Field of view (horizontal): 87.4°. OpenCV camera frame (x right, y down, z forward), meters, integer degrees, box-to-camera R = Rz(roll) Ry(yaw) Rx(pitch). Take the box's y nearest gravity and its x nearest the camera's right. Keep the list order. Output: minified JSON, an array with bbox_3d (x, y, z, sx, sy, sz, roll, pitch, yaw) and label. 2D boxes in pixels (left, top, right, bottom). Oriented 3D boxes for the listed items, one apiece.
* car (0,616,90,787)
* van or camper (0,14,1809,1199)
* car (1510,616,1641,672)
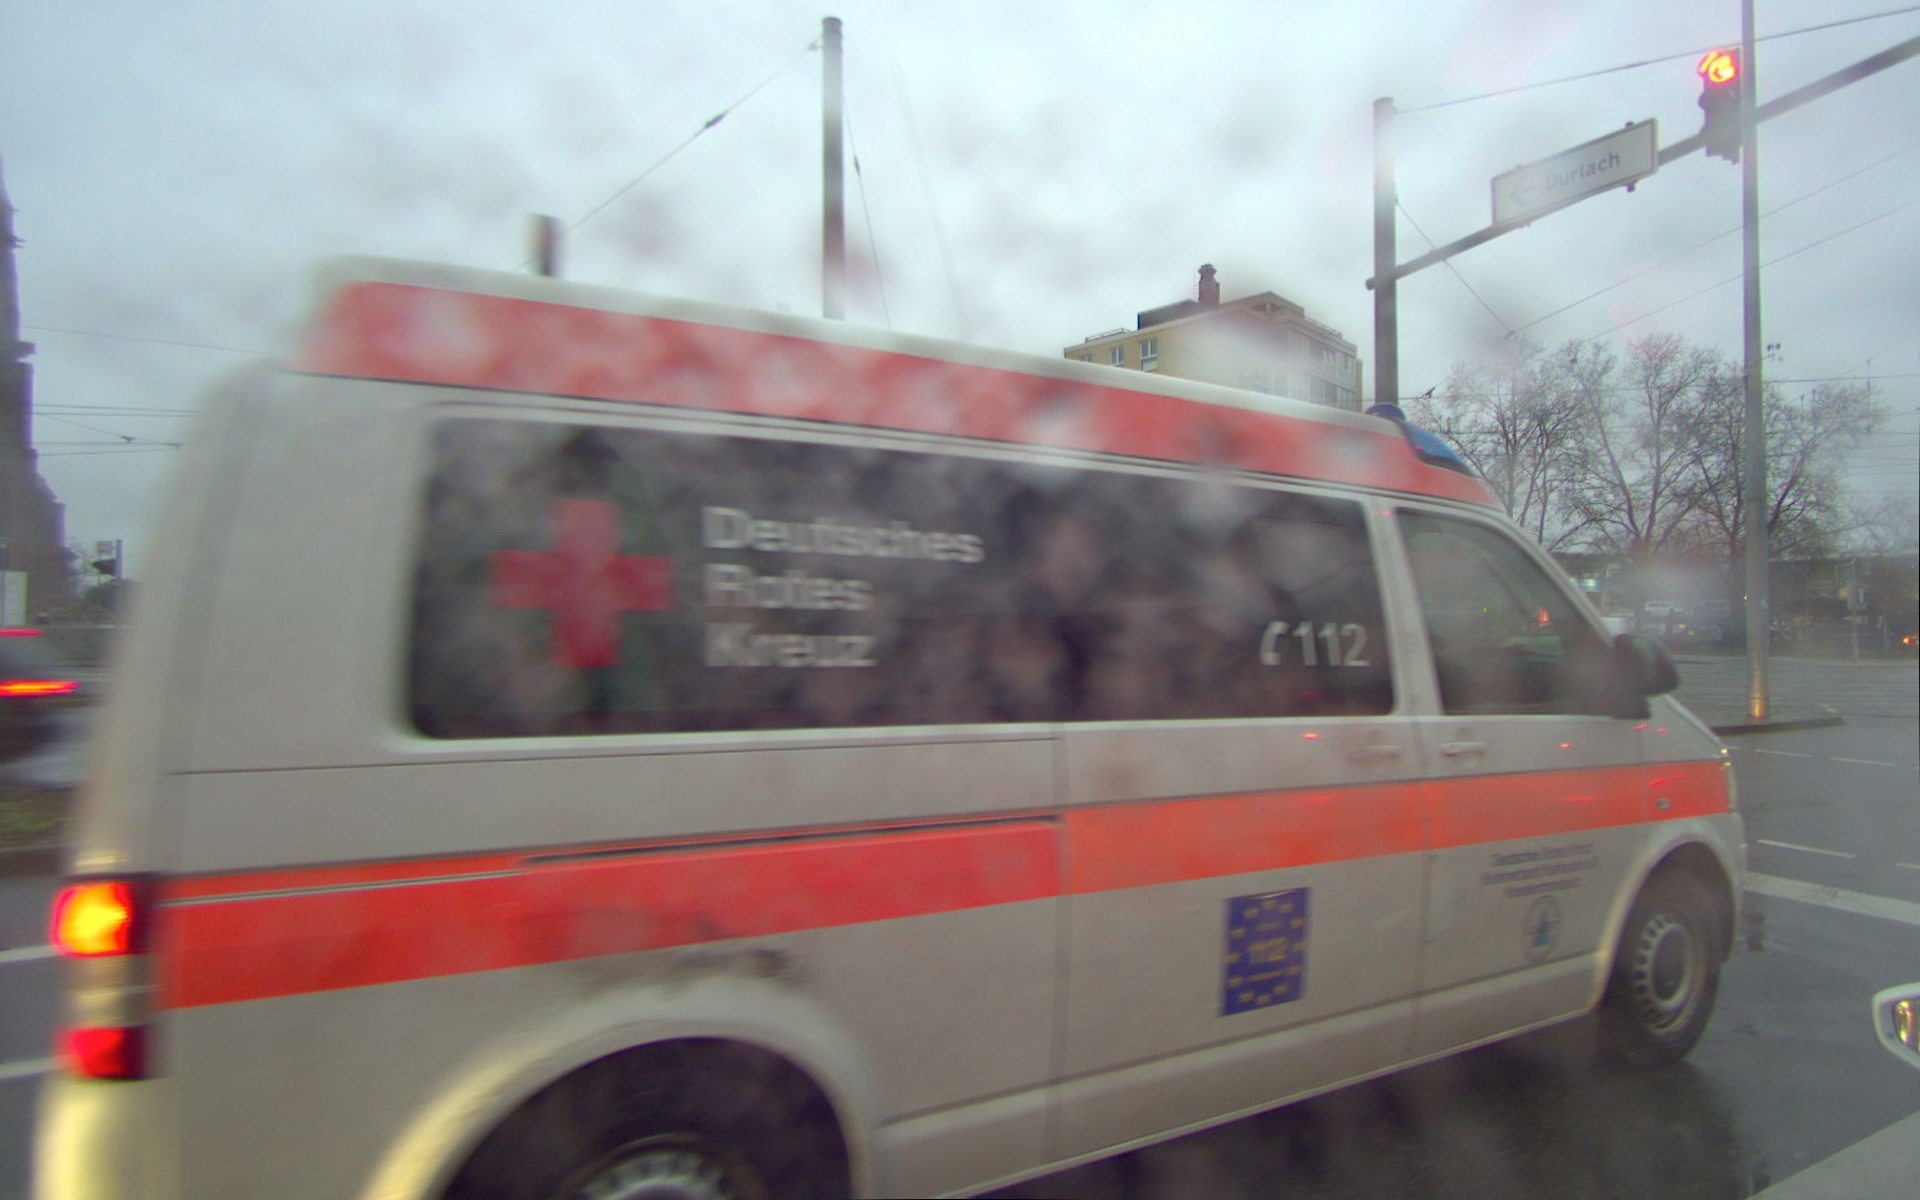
[{"bbox_3d":[-10.114,0.834,8.153,4.404,1.391,1.662,1,0,-34],"label":"car"},{"bbox_3d":[0.304,0.397,3.307,4.926,2.137,2.192,1,0,-29],"label":"van or camper"},{"bbox_3d":[25.835,1.827,42.223,4.354,2.040,1.901,2,-3,43],"label":"car"}]
